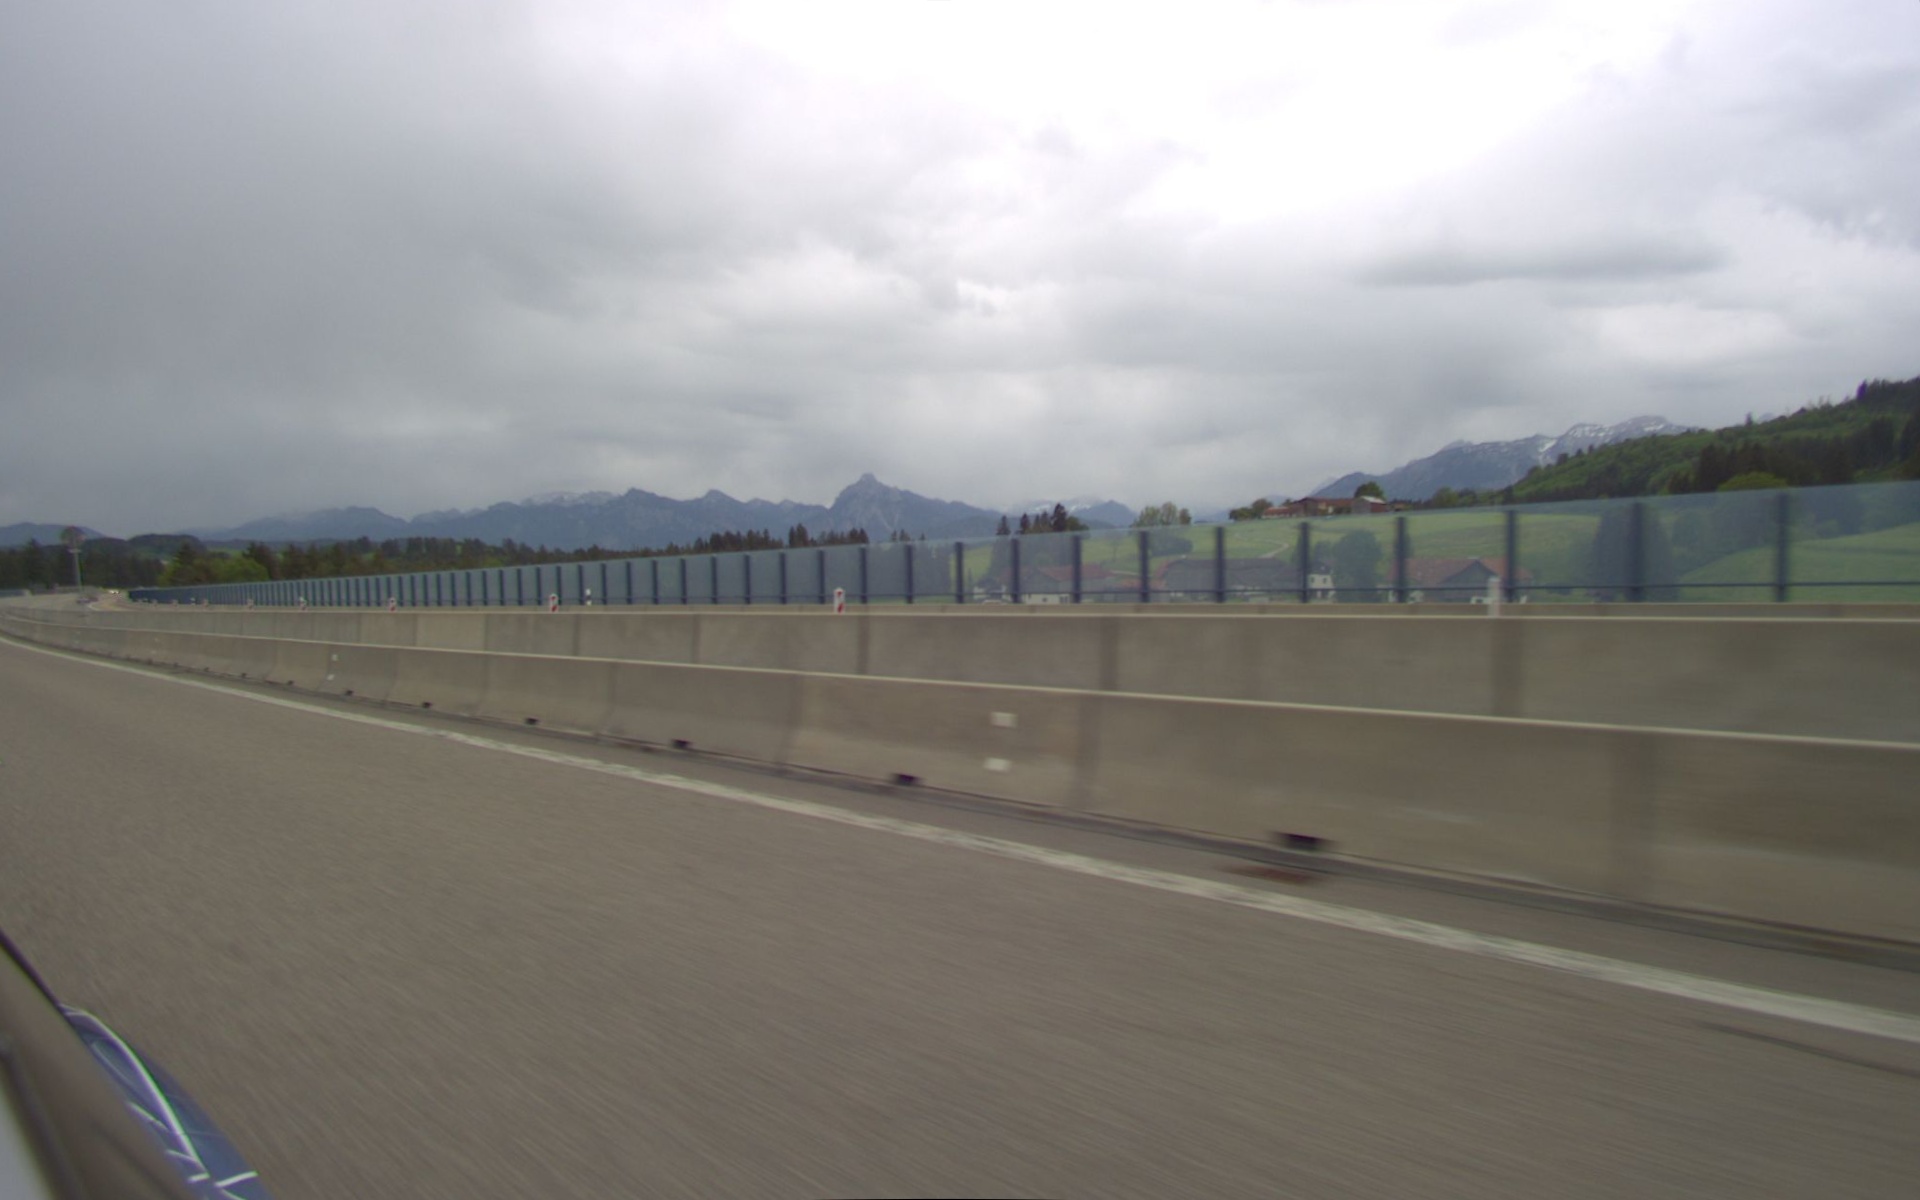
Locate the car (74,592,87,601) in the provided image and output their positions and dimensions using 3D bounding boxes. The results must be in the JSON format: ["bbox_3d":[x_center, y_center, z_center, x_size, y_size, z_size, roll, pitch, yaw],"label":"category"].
[{"bbox_3d":[-173.050,-0.737,199.210,1.869,1.763,4.139,1,-1,-40],"label":"car"}]
